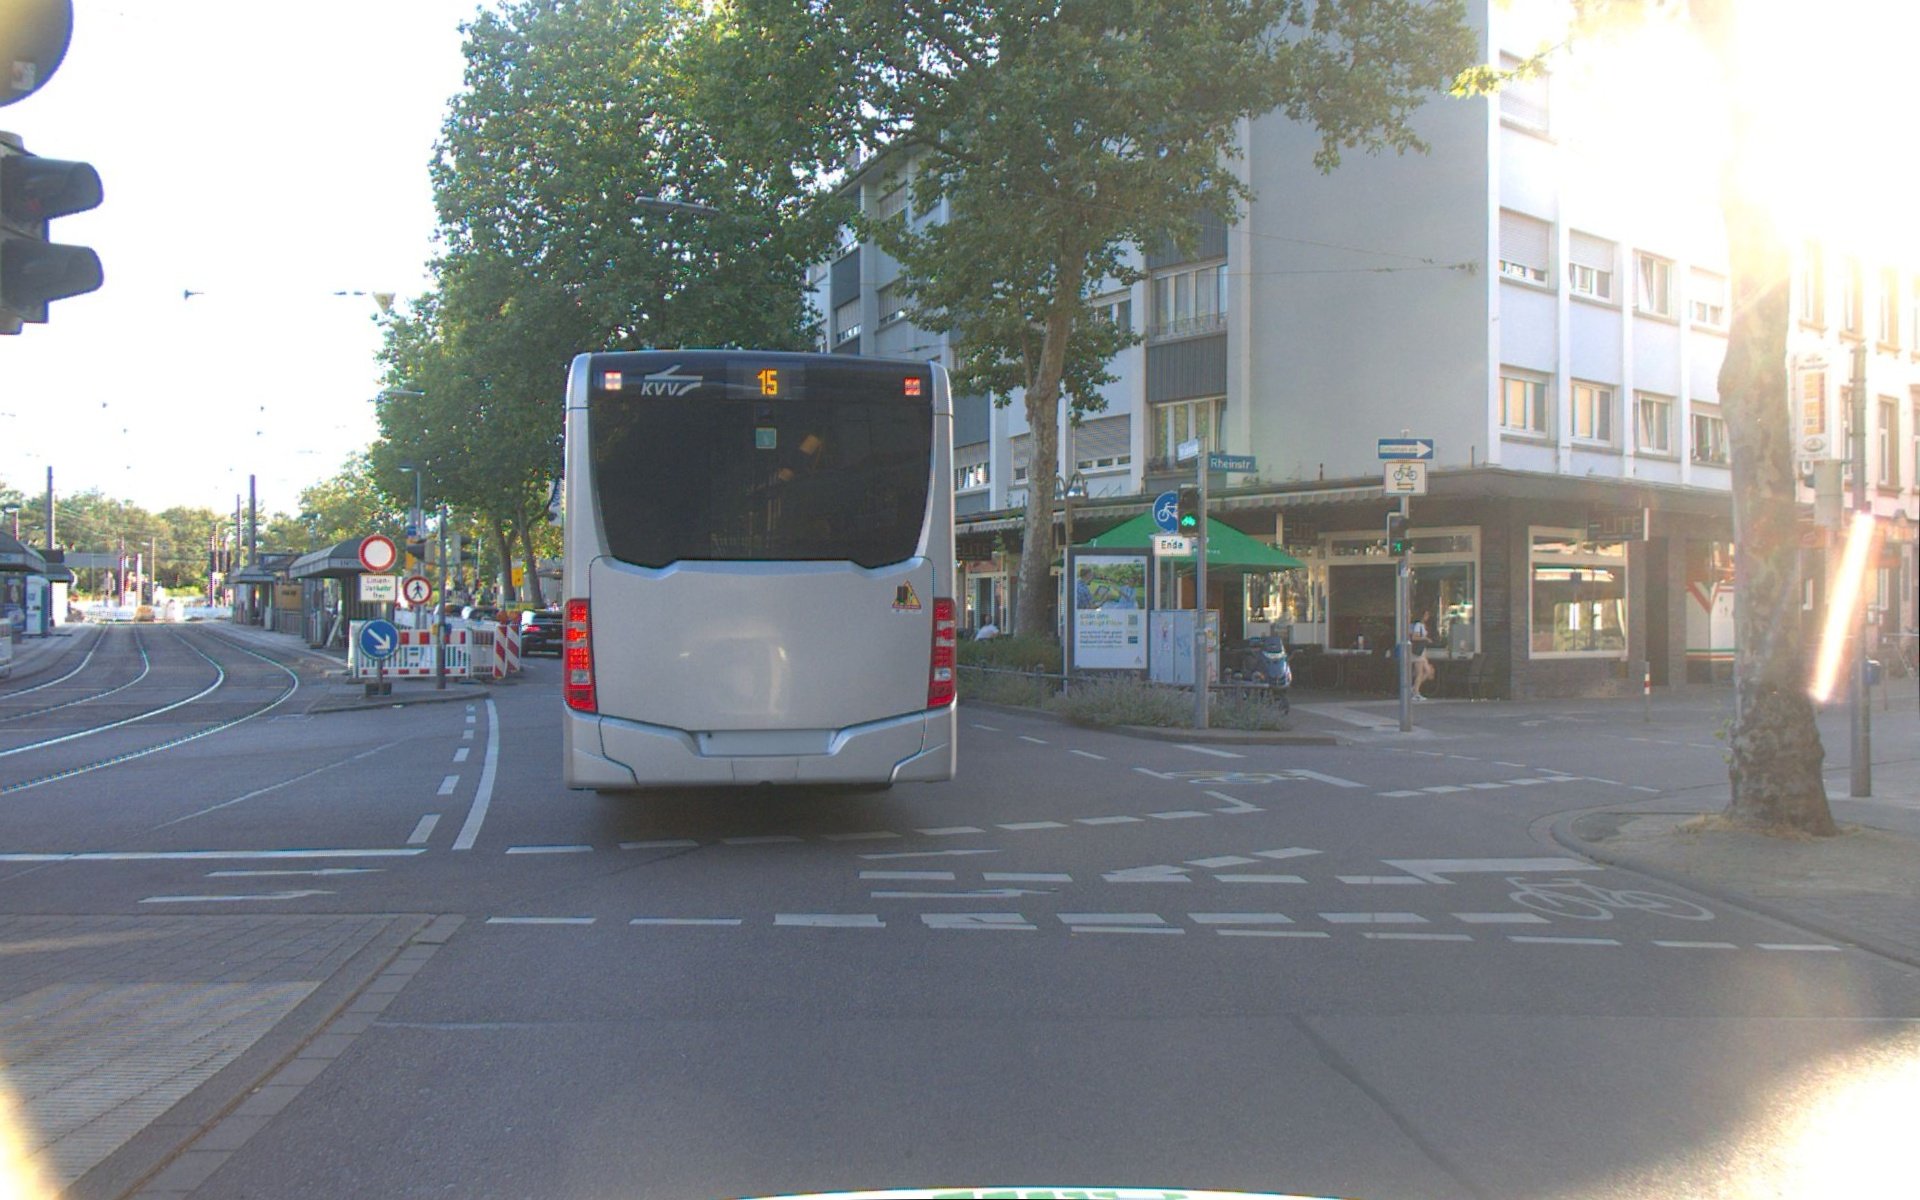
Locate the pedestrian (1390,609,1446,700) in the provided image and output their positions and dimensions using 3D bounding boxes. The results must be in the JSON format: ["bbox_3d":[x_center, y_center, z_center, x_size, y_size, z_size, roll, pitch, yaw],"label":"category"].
[{"bbox_3d":[8.154,0.963,29.428,0.598,1.575,0.706,2,-1,-40],"label":"pedestrian"}]

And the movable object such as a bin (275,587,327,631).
[{"bbox_3d":[-39.423,0.540,98.843,2.463,2.520,5.310,1,-1,-26],"label":"movable object such as a bin"}]

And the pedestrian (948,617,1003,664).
[{"bbox_3d":[0.402,1.046,43.314,1.161,1.218,0.920,1,-1,-22],"label":"pedestrian"}]

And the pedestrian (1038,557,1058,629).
[{"bbox_3d":[2.162,-0.166,40.509,0.351,1.748,0.308,2,-1,-15],"label":"pedestrian"}]

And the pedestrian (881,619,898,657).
[{"bbox_3d":[-2.109,1.135,49.456,0.382,1.141,0.390,1,-1,-23],"label":"pedestrian"}]

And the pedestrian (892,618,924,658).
[{"bbox_3d":[-1.483,1.073,47.199,0.695,1.128,0.761,1,-1,-22],"label":"pedestrian"}]

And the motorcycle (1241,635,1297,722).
[{"bbox_3d":[4.398,1.099,23.625,0.558,1.178,1.461,2,-1,2],"label":"motorcycle"}]

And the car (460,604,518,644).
[{"bbox_3d":[-18.134,0.900,63.567,1.731,1.490,3.973,0,-1,-22],"label":"car"}]

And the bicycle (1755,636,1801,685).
[{"bbox_3d":[18.123,1.331,36.635,1.703,1.059,0.290,1,-3,-42],"label":"bicycle"}]

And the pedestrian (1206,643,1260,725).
[{"bbox_3d":[4.397,1.346,26.691,0.542,1.265,0.728,2,0,-21],"label":"pedestrian"}]

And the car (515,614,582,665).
[{"bbox_3d":[-12.830,1.198,51.449,1.729,1.490,3.979,0,0,-18],"label":"car"}]

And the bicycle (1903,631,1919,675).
[{"bbox_3d":[24.716,1.330,42.506,1.704,1.058,0.290,-3,-1,-42],"label":"bicycle"}]

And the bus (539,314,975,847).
[{"bbox_3d":[-2.113,-0.048,15.038,2.610,3.153,10.189,0,-1,-10],"label":"bus"}]
